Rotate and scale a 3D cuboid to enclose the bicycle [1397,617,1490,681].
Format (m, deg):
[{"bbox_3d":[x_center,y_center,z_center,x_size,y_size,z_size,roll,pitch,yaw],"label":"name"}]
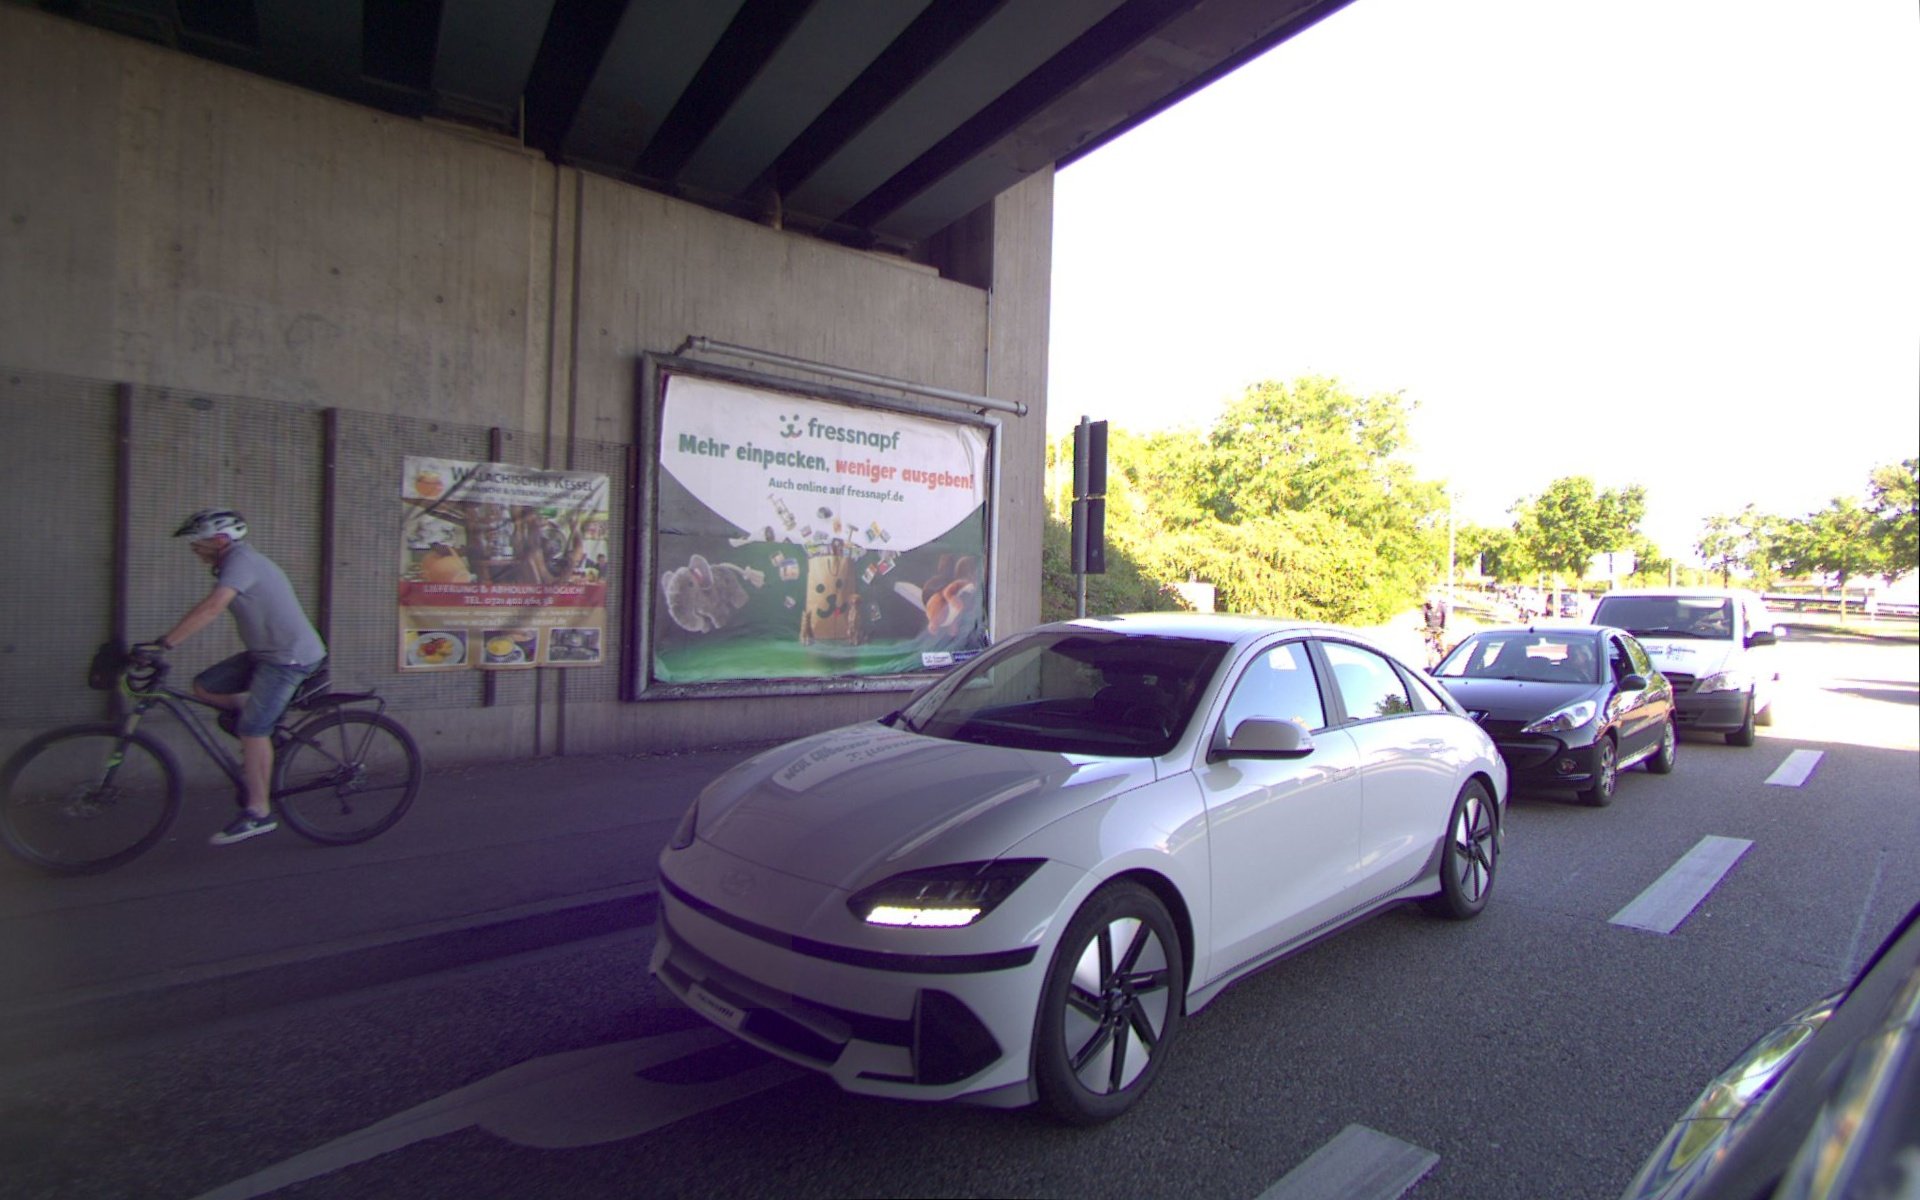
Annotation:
[{"bbox_3d":[9.683,0.936,20.229,2.426,1.160,0.766,0,0,-41],"label":"bicycle"}]

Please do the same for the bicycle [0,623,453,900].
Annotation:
[{"bbox_3d":[-3.495,0.675,4.902,1.729,1.070,0.703,1,2,-40],"label":"bicycle"}]

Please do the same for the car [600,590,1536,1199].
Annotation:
[{"bbox_3d":[0.956,0.717,4.583,1.746,1.474,4.588,0,0,45],"label":"car"}]

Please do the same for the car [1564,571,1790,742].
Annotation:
[{"bbox_3d":[9.630,0.645,13.418,1.897,1.859,4.760,0,-1,42],"label":"car"}]

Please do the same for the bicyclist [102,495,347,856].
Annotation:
[{"bbox_3d":[-3.521,0.303,4.858,0.893,1.542,0.697,0,3,-40],"label":"bicyclist"}]

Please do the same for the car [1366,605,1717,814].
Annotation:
[{"bbox_3d":[5.350,0.795,9.142,3.653,1.474,1.748,0,0,-43],"label":"car"}]

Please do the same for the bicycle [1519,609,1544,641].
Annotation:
[{"bbox_3d":[22.274,0.957,39.475,0.646,1.181,1.763,4,2,25],"label":"bicycle"}]

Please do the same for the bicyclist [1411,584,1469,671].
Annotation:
[{"bbox_3d":[9.549,0.530,20.122,0.871,1.676,0.748,0,-1,-41],"label":"bicyclist"}]

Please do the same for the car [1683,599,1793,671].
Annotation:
[{"bbox_3d":[19.172,0.774,24.851,1.991,1.571,4.357,0,1,40],"label":"car"}]

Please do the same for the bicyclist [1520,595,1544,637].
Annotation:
[{"bbox_3d":[22.263,0.610,39.399,0.648,1.553,0.839,4,1,25],"label":"bicyclist"}]
